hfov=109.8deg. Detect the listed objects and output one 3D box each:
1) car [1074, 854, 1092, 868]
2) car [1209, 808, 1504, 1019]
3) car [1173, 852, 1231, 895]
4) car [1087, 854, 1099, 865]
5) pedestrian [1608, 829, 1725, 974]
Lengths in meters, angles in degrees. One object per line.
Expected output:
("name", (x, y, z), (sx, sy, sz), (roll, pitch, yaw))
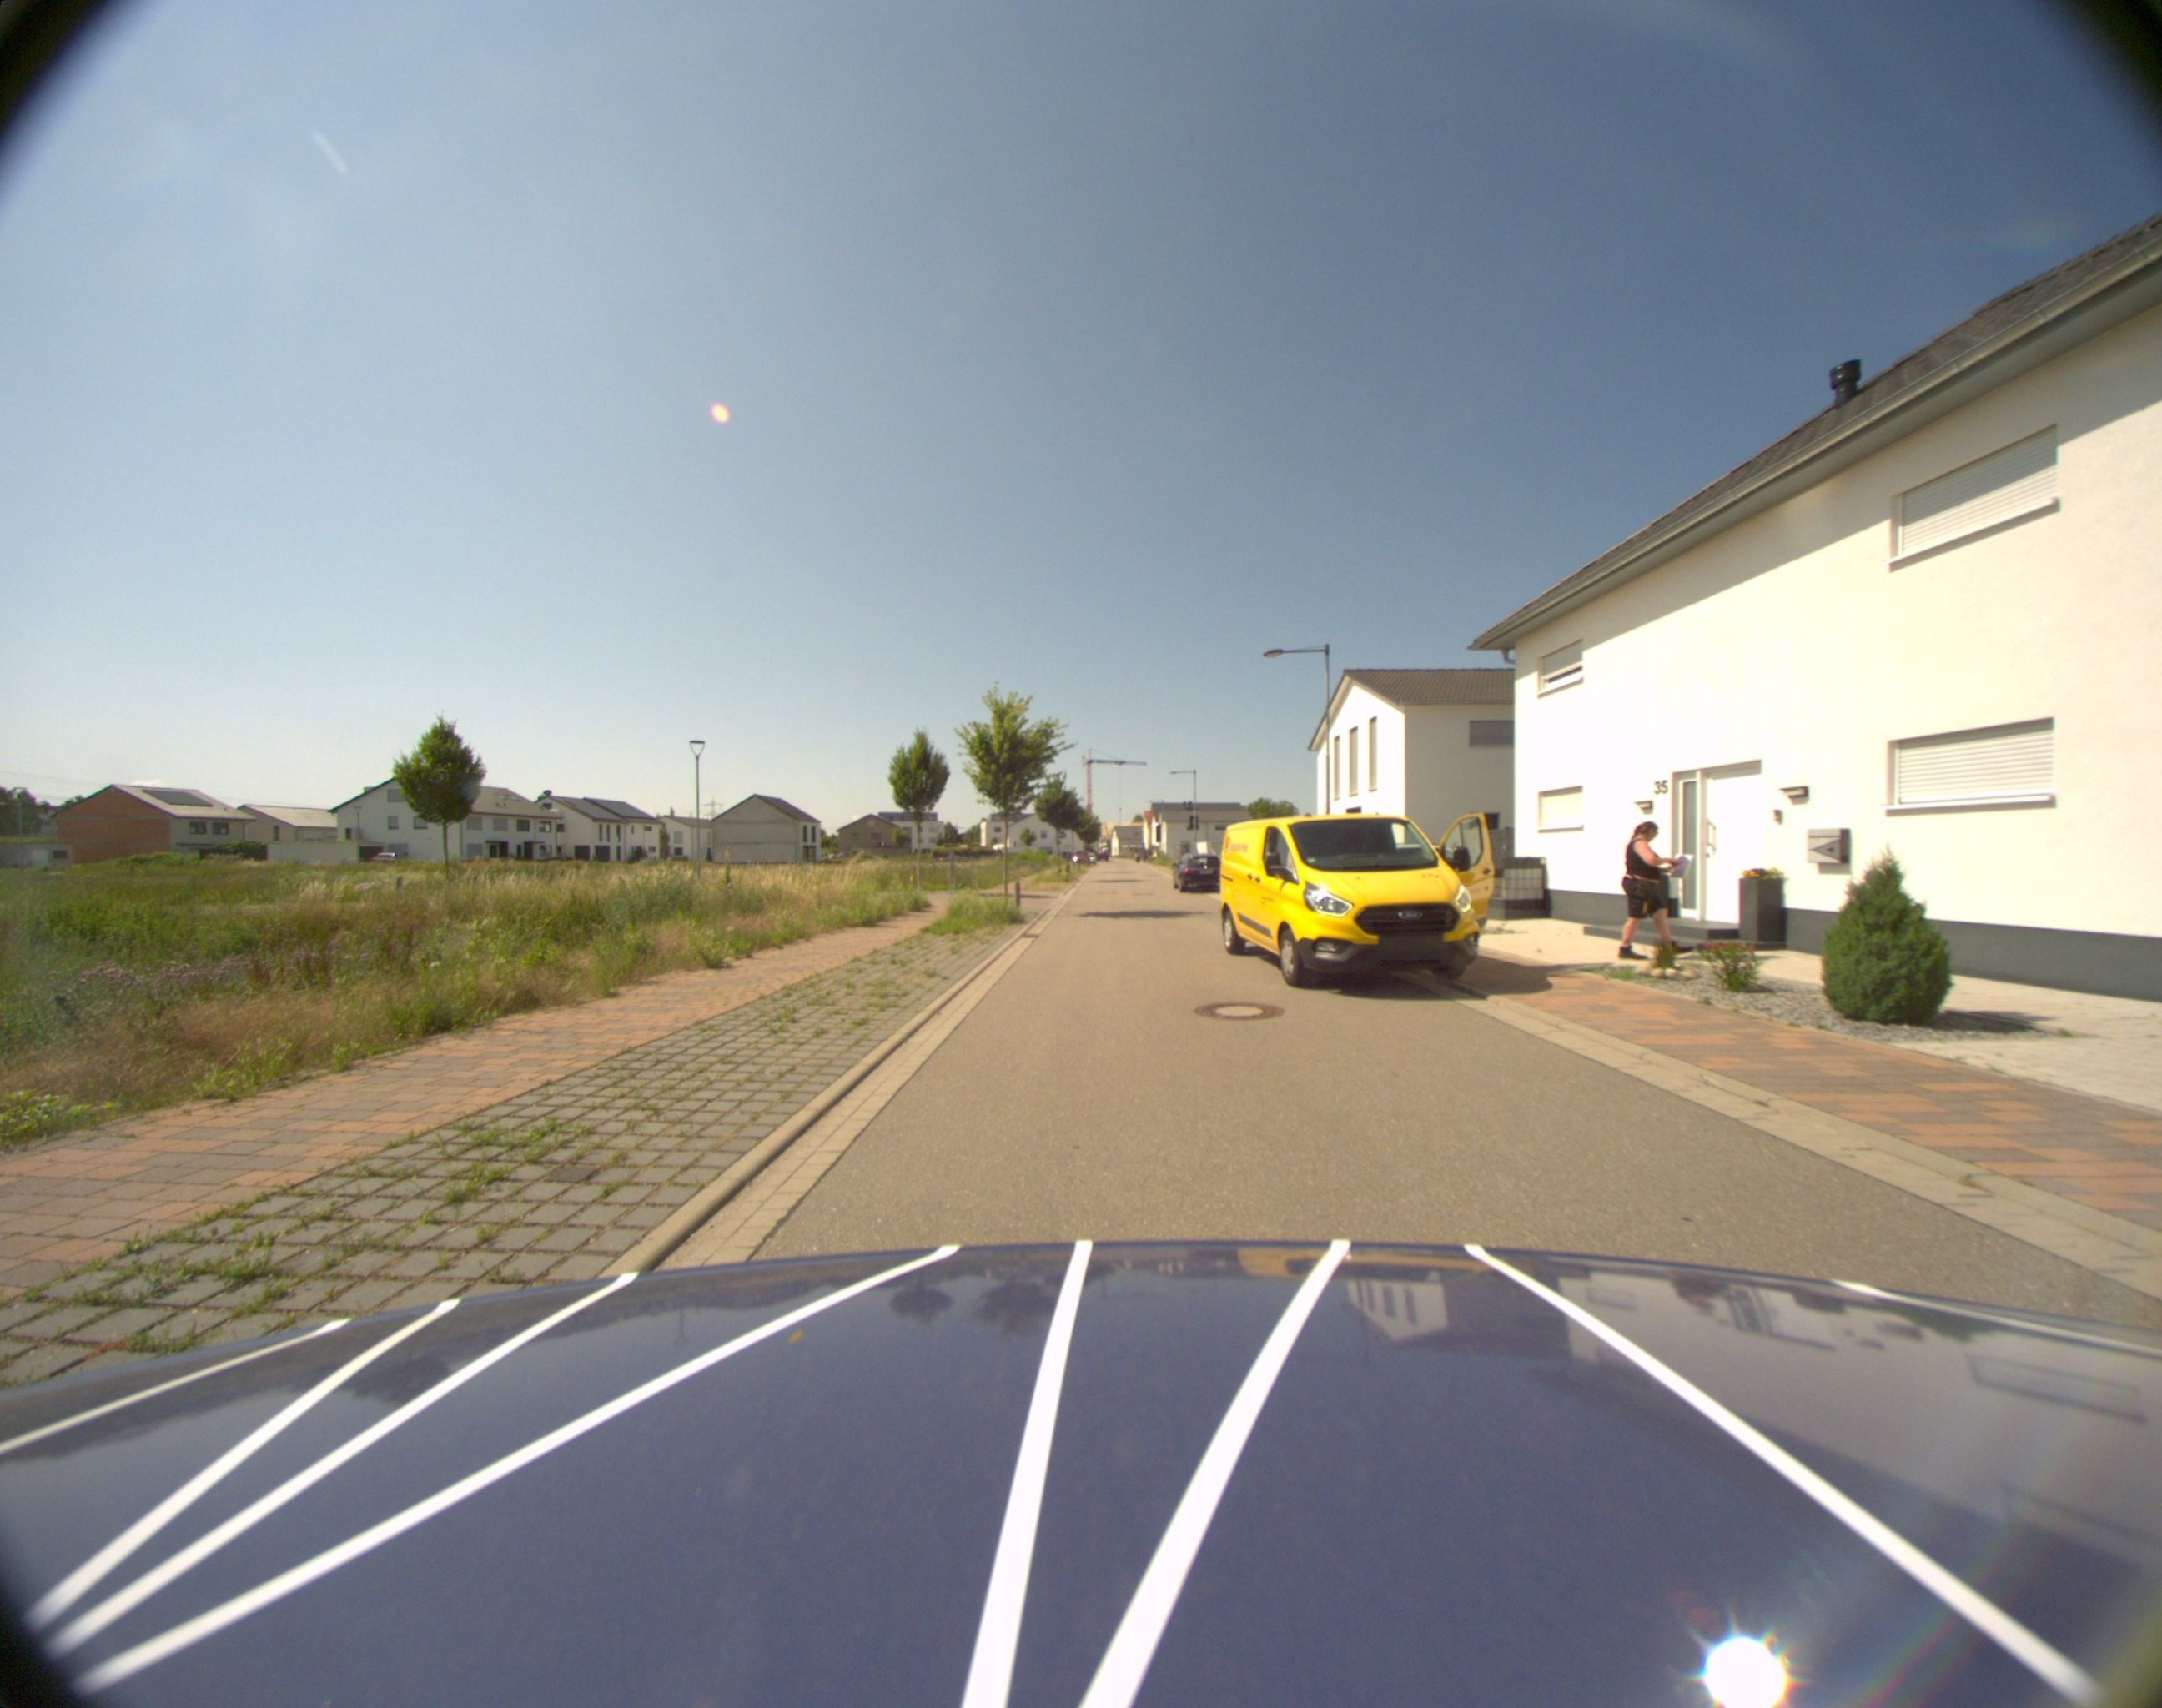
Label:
("car", (0.225, 0.746, 81.715), (1.768, 1.483, 4.000), (-1, 1, 2))
("car", (3.106, 0.562, 9.836), (1.889, 2.002, 4.840), (-2, 0, -2))
("car", (4.650, 0.691, 29.671), (1.694, 1.464, 4.445), (-2, 0, 2))
("car", (1.586, 0.692, 101.677), (1.493, 1.389, 3.272), (-1, 1, 2))
("pedestrian", (7.066, 0.570, 9.205), (0.931, 1.675, 0.537), (-3, 1, 12))
